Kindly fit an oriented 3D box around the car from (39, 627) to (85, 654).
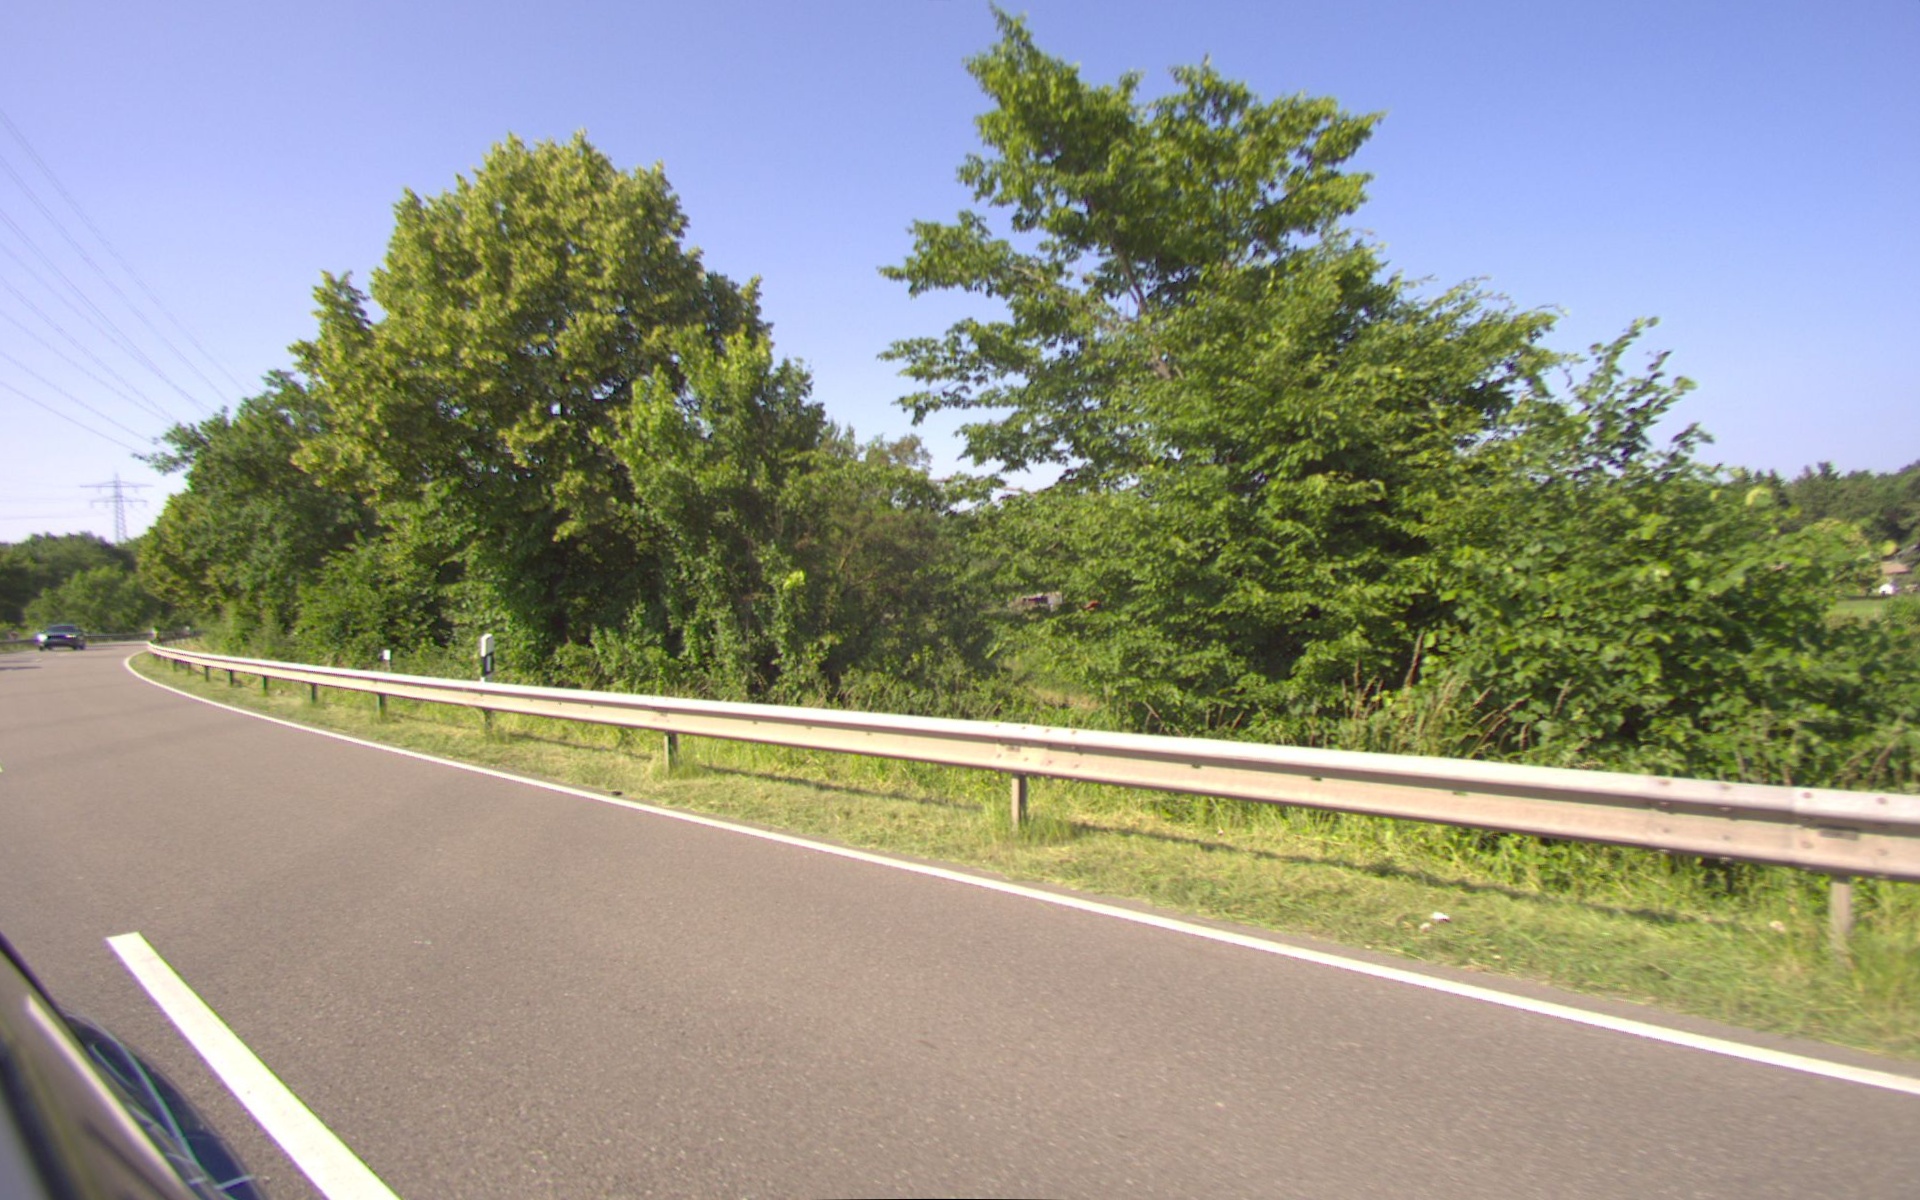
[{"bbox_3d":[-57.993,2.593,65.391,1.581,1.506,4.011,-1,0,-32],"label":"car"}]
